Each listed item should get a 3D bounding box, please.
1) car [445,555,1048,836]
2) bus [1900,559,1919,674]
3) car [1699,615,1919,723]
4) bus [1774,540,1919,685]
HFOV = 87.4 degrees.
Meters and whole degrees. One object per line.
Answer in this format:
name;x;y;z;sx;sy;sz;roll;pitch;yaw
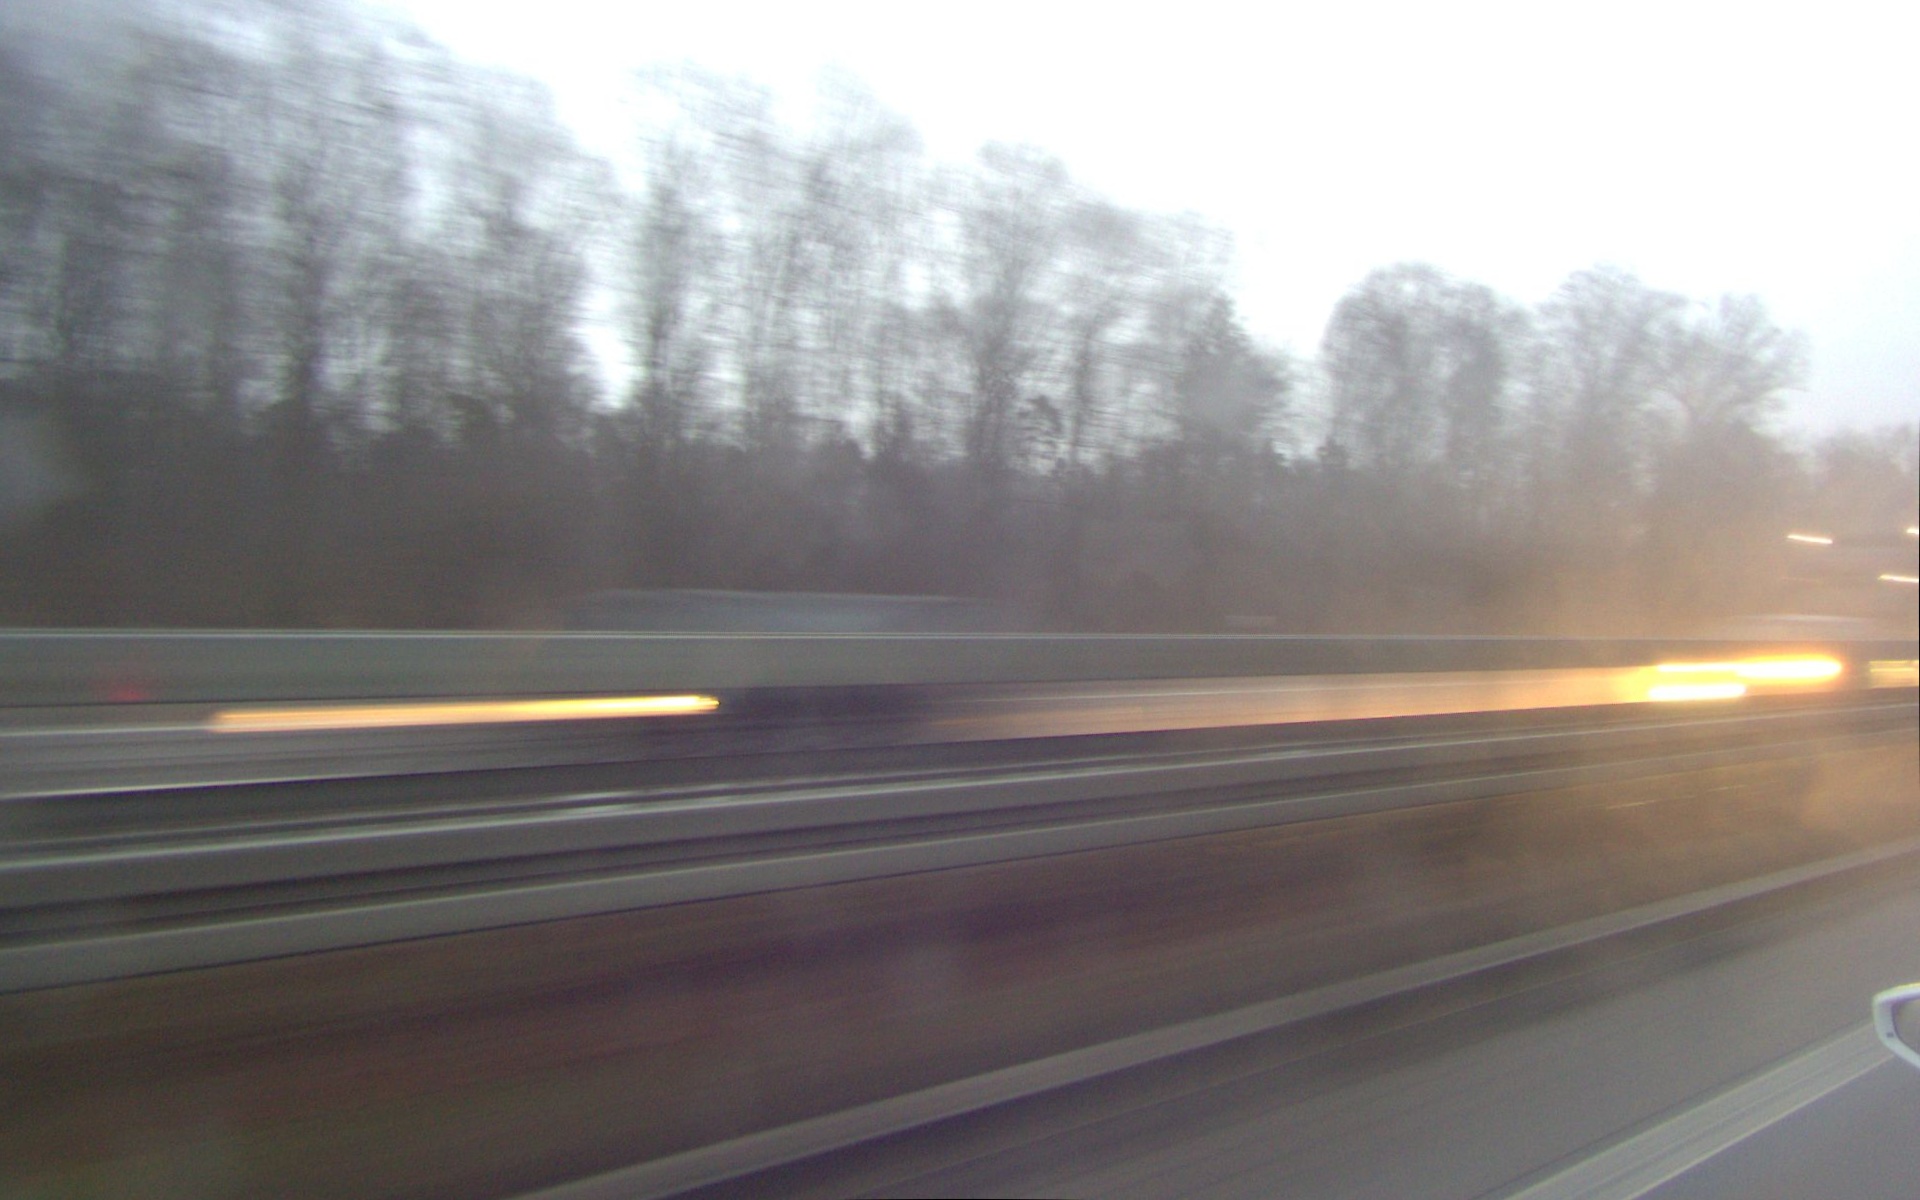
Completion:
car;-1.538;0.593;7.631;4.106;1.615;1.821;2;0;-31
bus;34.606;0.644;33.159;9.049;3.602;2.725;2;0;-31
car;14.379;1.084;16.696;4.218;1.555;1.791;2;0;-29
bus;26.793;0.413;28.519;8.982;3.602;2.713;2;0;-31
